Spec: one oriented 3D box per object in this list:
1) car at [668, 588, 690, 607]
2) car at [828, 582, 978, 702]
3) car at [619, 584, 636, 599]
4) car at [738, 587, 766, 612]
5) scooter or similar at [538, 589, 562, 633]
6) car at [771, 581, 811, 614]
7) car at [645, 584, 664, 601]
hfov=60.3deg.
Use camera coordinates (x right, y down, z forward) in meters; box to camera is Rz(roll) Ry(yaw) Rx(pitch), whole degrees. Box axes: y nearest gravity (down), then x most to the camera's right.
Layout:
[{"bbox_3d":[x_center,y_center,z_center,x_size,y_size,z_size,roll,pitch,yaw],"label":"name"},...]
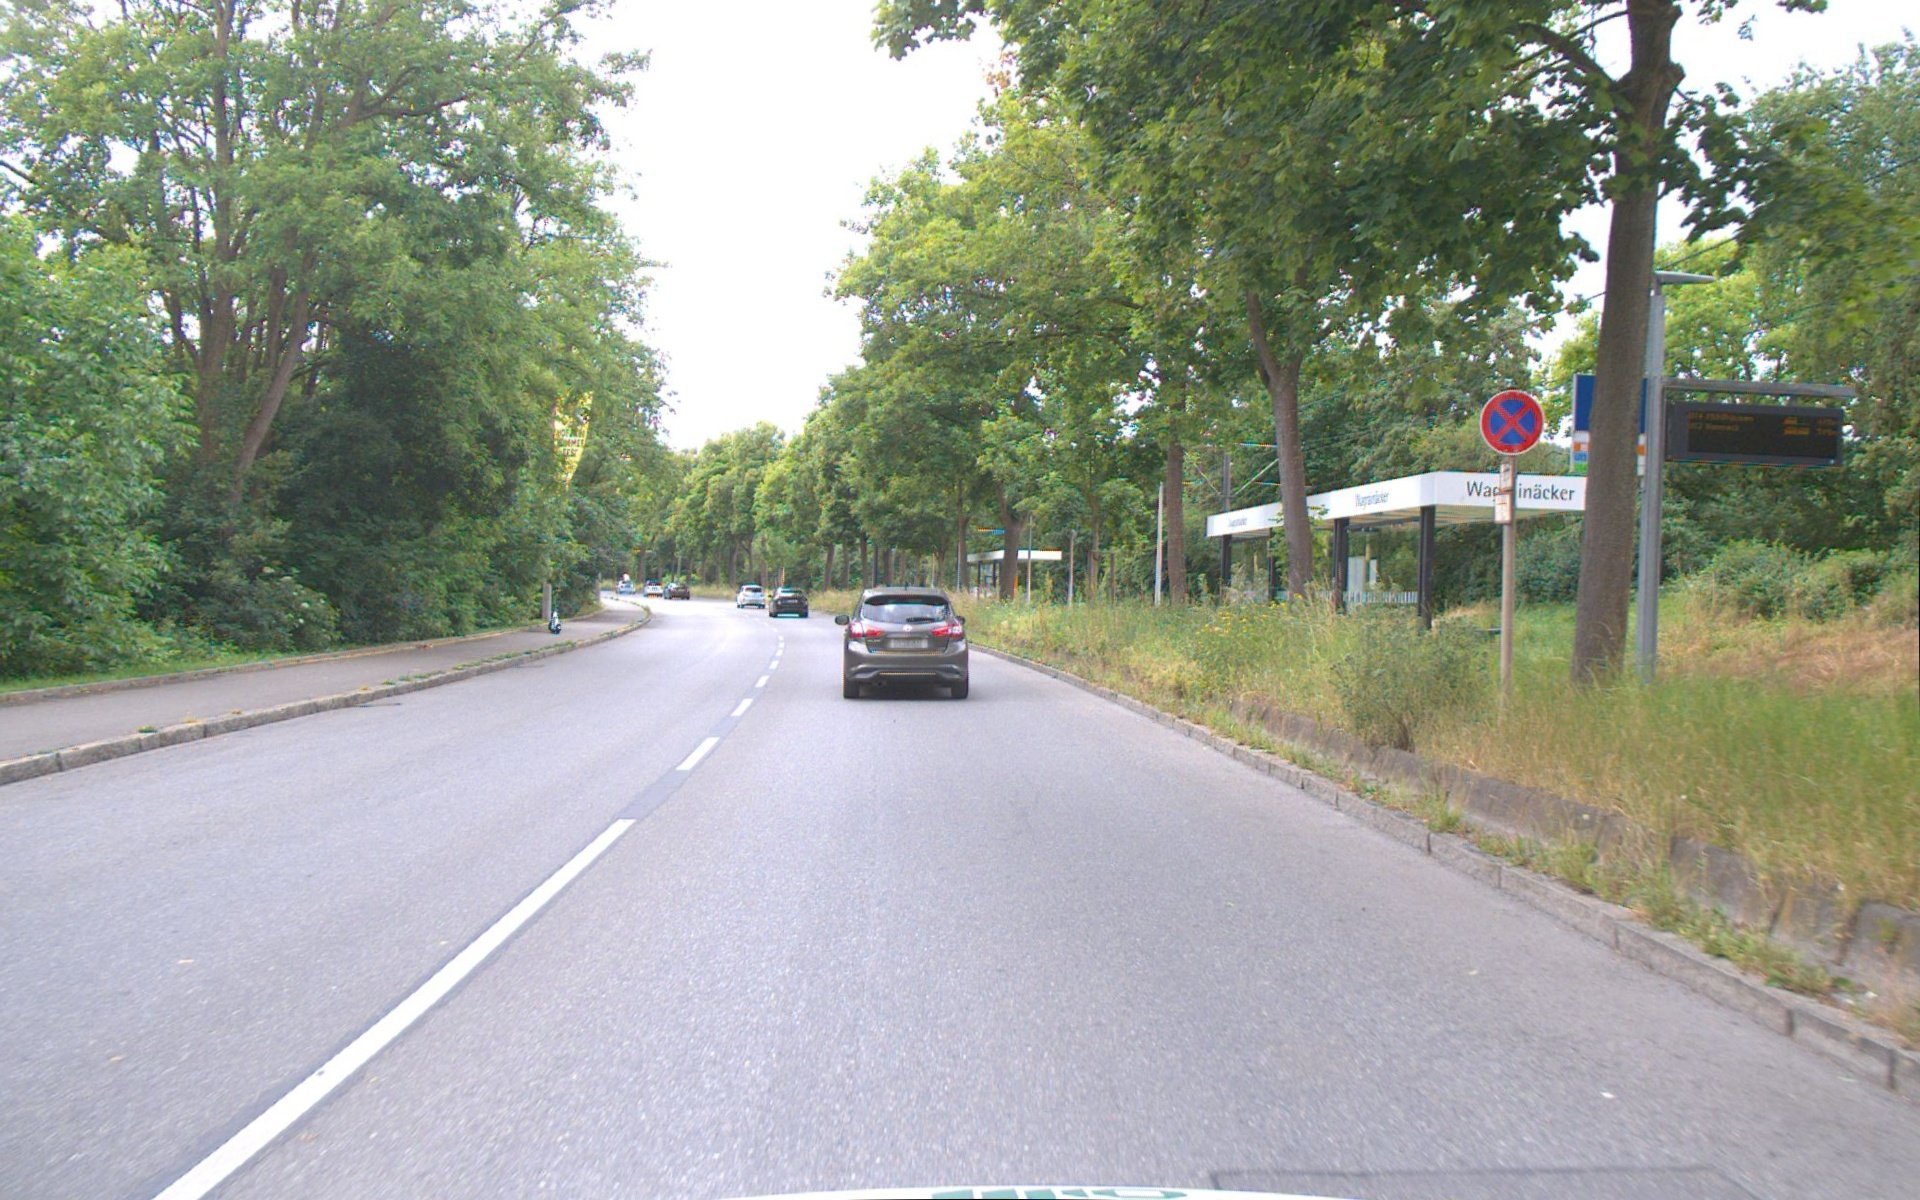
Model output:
[{"bbox_3d":[-24.881,-0.259,146.256,1.744,1.497,3.990,5,0,-10],"label":"car"},{"bbox_3d":[-0.907,0.539,23.988,1.782,1.534,3.994,1,1,-8],"label":"car"},{"bbox_3d":[-36.514,-0.973,181.710,1.744,1.497,3.990,3,0,-10],"label":"car"},{"bbox_3d":[-13.786,-0.034,109.702,1.742,1.497,3.995,3,0,-6],"label":"car"},{"bbox_3d":[-11.567,0.305,46.629,0.360,1.204,1.287,2,0,-26],"label":"scooter or similar"},{"bbox_3d":[-8.479,-0.146,82.670,1.743,1.497,3.992,3,0,-9],"label":"car"},{"bbox_3d":[-29.889,-0.756,161.731,1.744,1.497,3.991,2,1,-10],"label":"car"}]
